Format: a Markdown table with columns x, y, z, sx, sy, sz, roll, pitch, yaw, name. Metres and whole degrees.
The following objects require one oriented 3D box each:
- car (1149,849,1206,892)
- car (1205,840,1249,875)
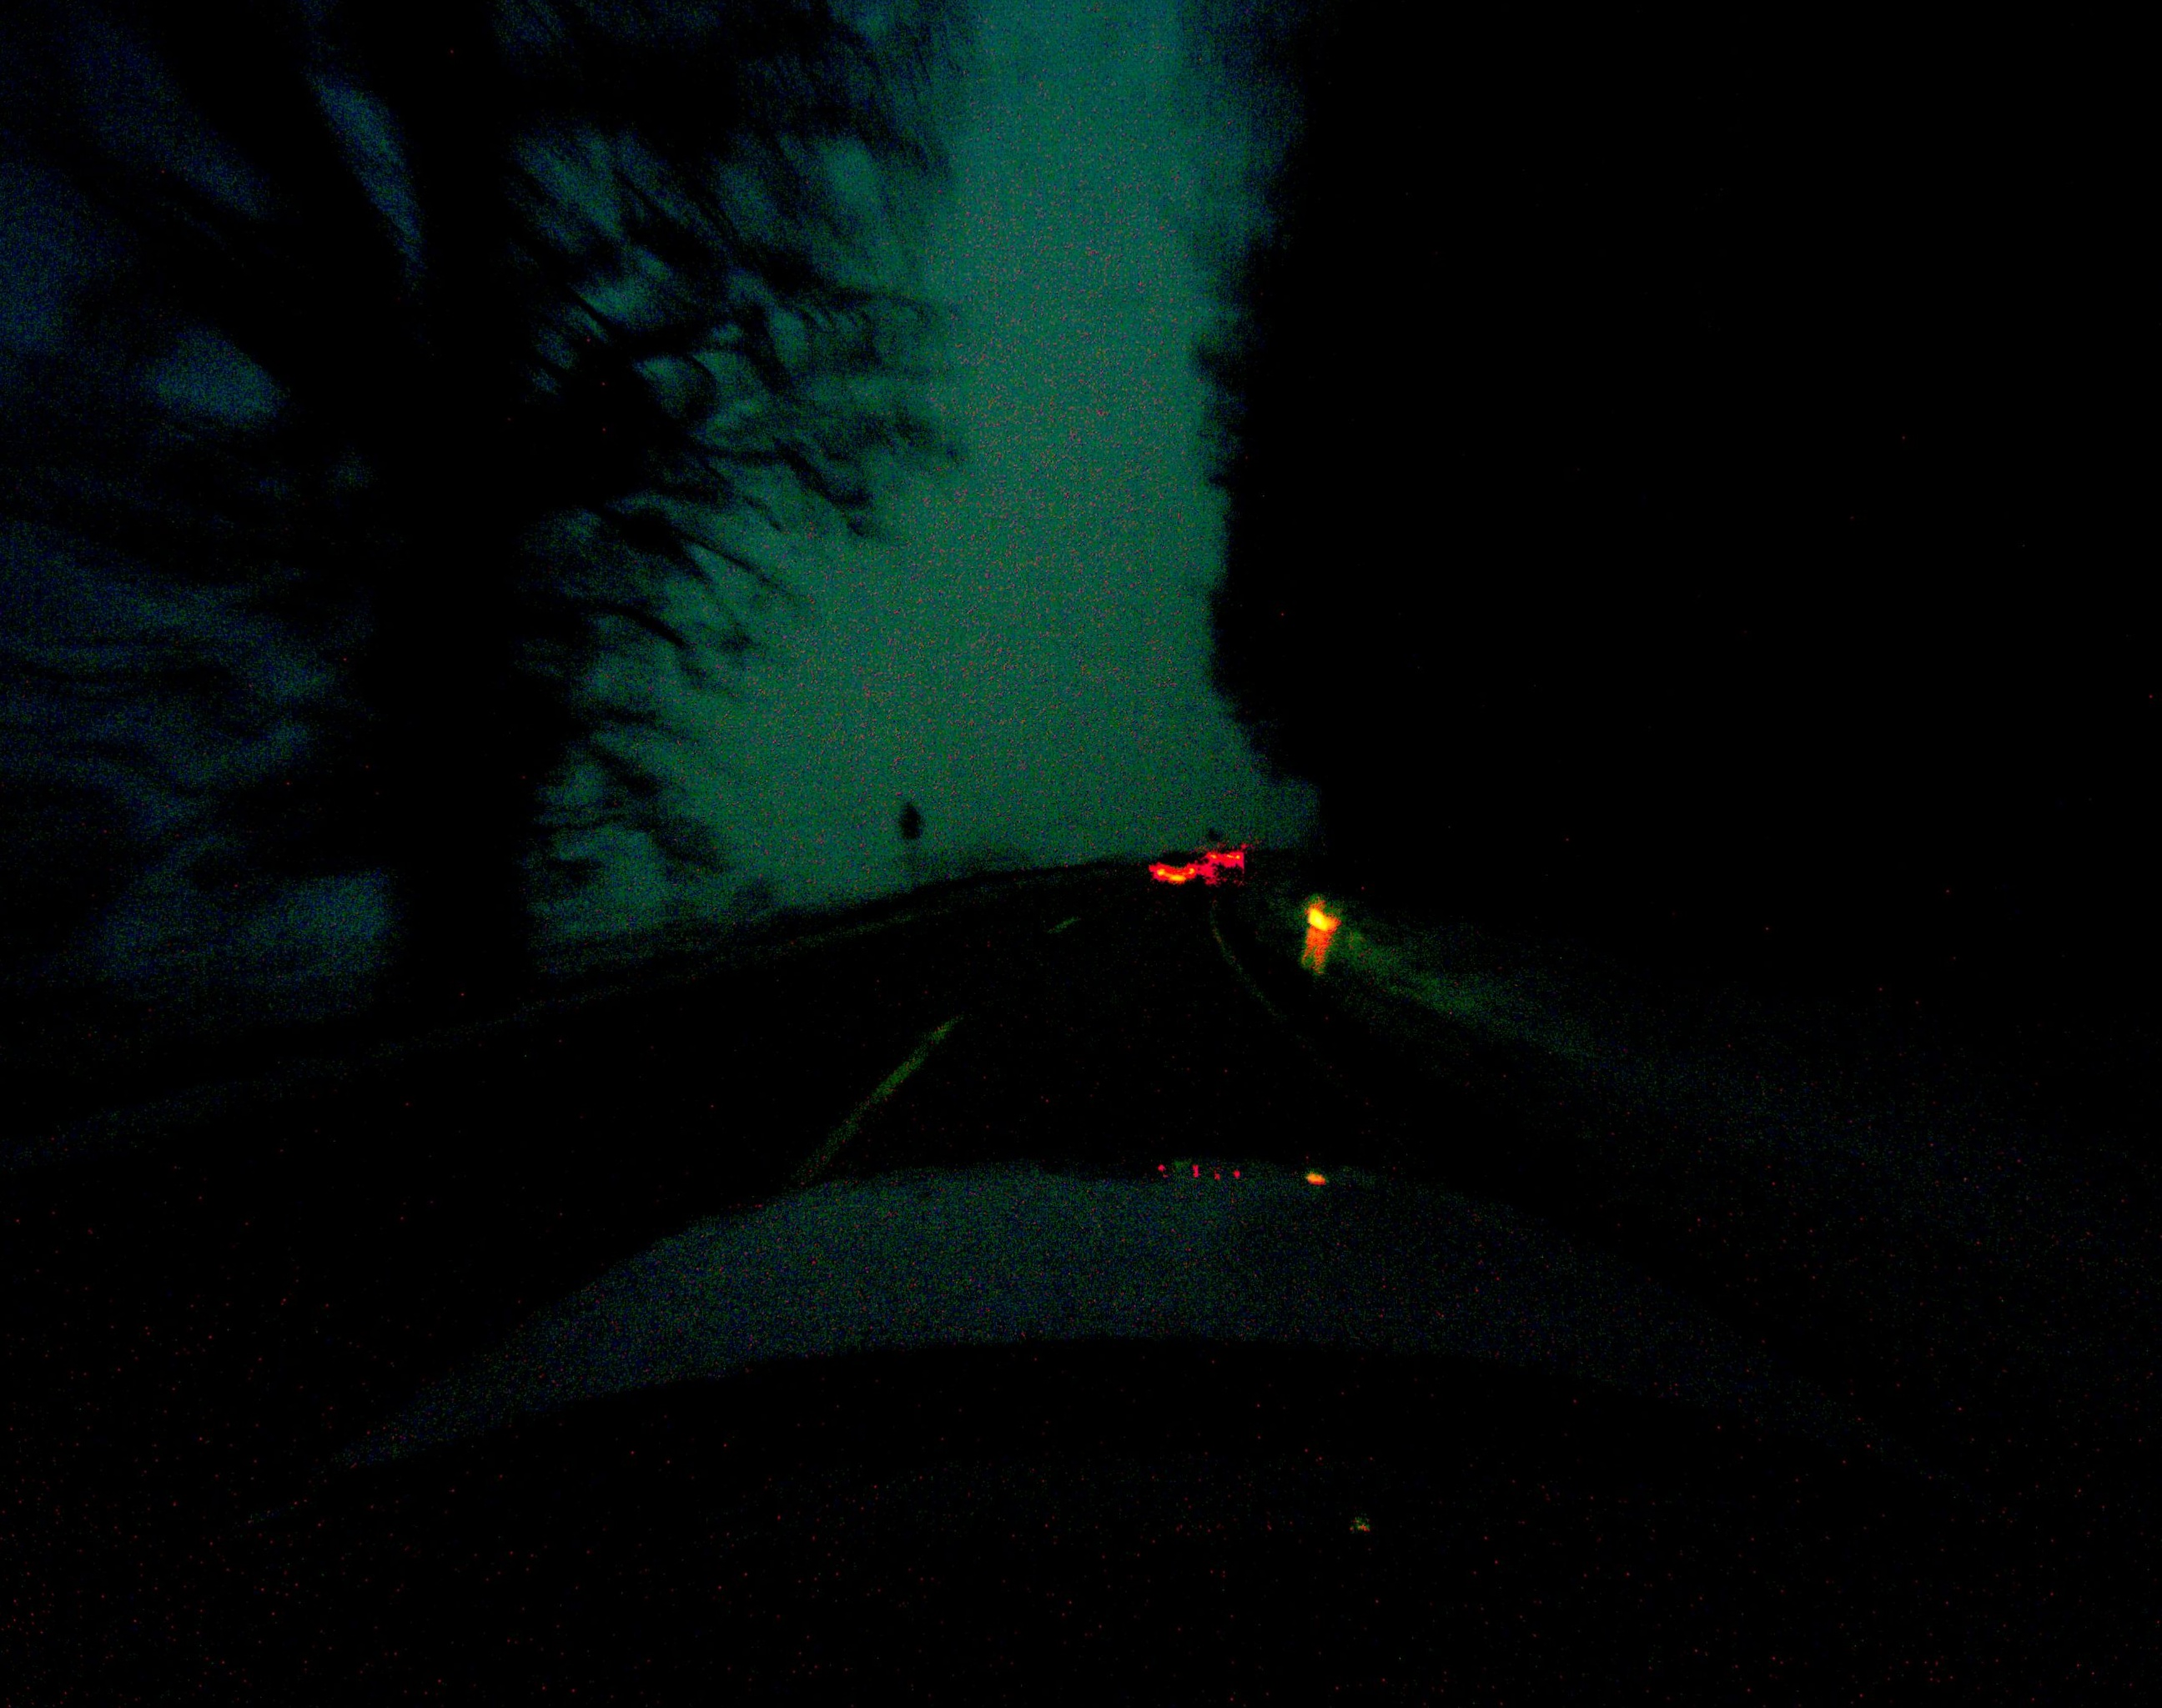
| x | y | z | sx | sy | sz | roll | pitch | yaw | name |
| --- | --- | --- | --- | --- | --- | --- | --- | --- | --- |
| 3.911 | 0.618 | 32.461 | 1.933 | 1.381 | 4.012 | -4 | 1 | 10 | car |
| 8.131 | 0.166 | 45.096 | 1.978 | 1.782 | 4.017 | -2 | 1 | 16 | car |
